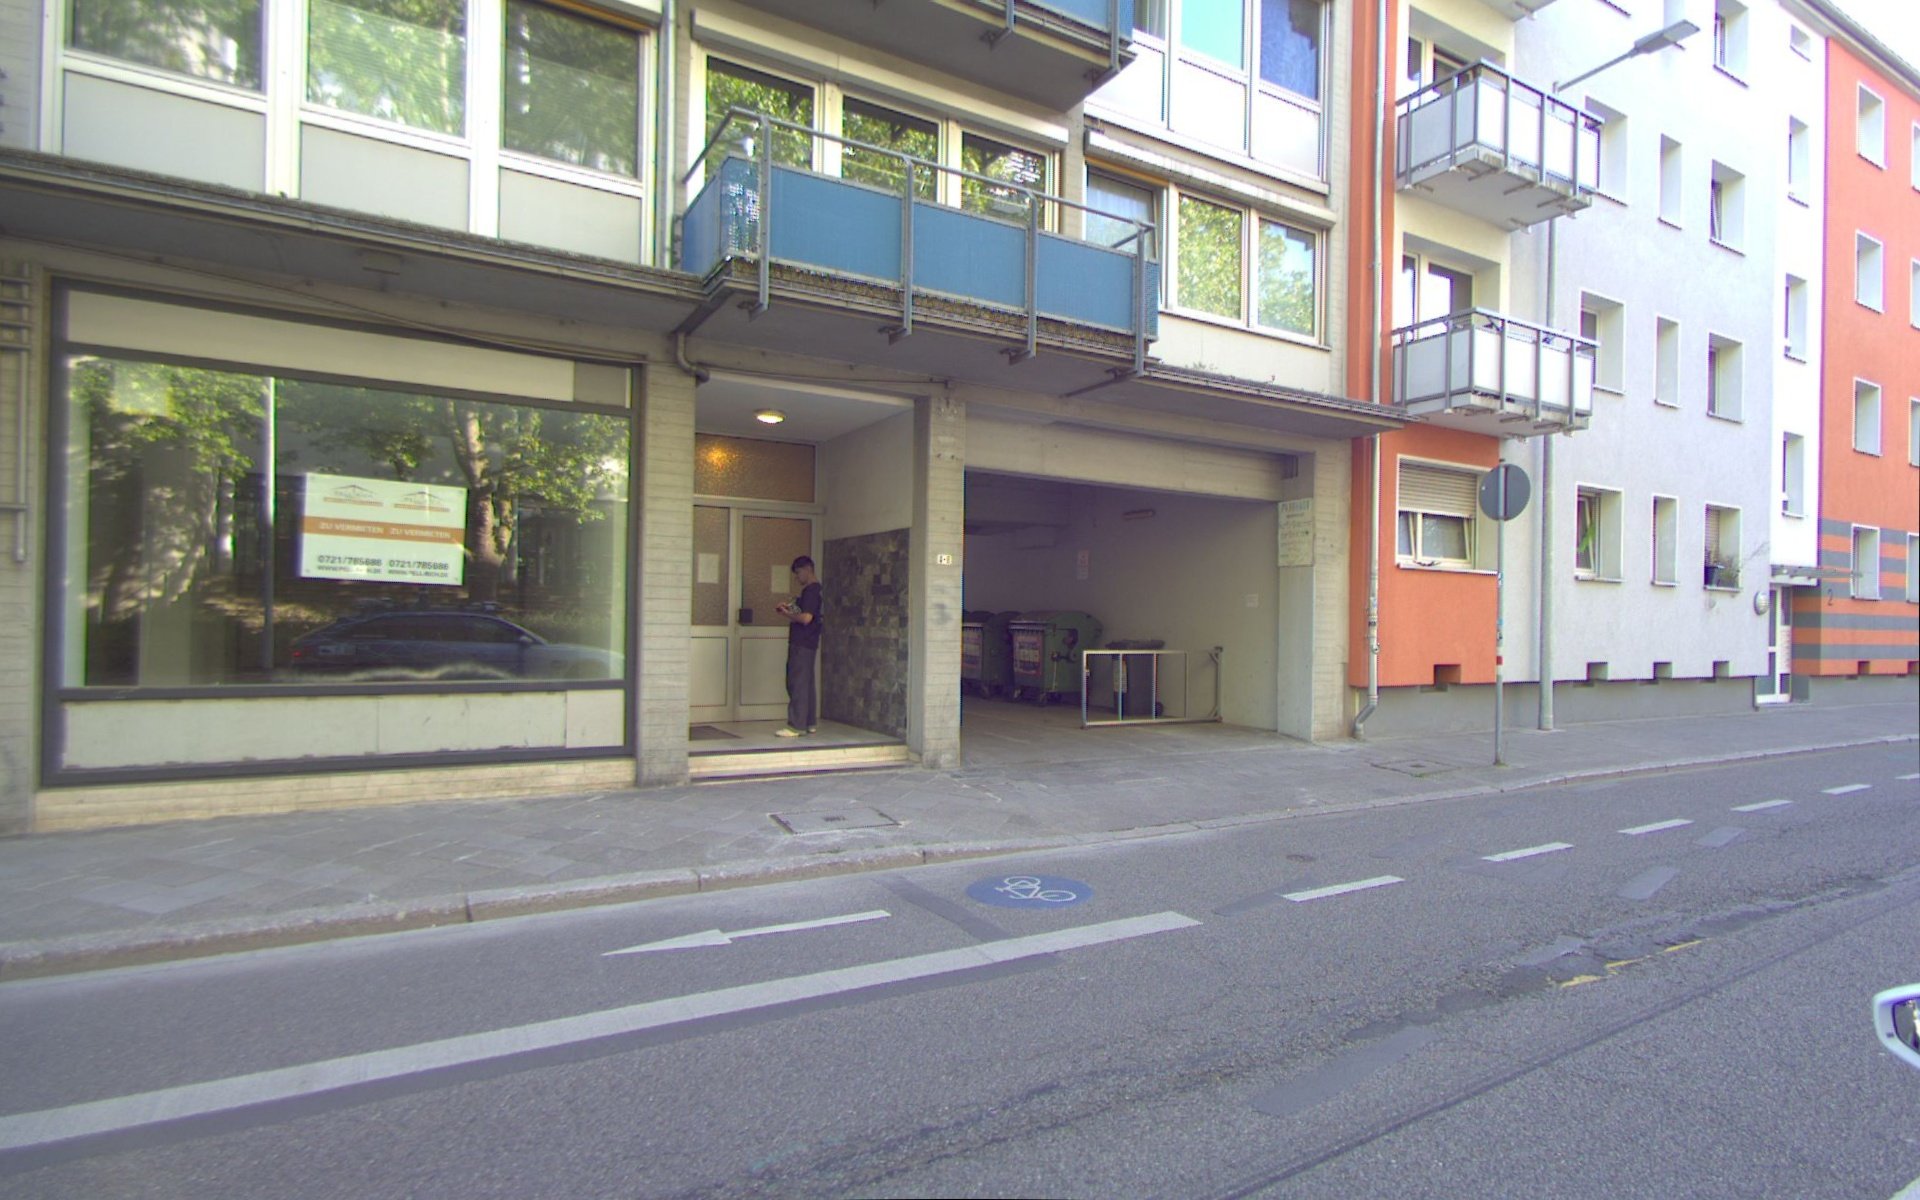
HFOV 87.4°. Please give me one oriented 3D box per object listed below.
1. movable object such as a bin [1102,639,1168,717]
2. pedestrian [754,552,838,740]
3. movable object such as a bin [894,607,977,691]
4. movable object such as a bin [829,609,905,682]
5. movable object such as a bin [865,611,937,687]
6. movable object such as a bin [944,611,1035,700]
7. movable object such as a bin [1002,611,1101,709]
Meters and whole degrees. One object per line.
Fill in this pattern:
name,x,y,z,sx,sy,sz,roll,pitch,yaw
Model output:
movable object such as a bin,2.475,1.085,14.248,0.704,1.054,0.583,1,0,-30
pedestrian,-1.596,0.434,9.816,0.518,1.764,0.630,1,0,27
movable object such as a bin,-0.462,0.870,18.414,1.011,1.462,1.318,1,-1,-29
movable object such as a bin,-1.892,0.910,20.403,1.014,1.409,1.264,1,-1,-37
movable object such as a bin,-1.151,0.928,19.437,1.012,1.409,1.046,1,-1,-31
movable object such as a bin,0.479,0.909,16.906,1.011,1.409,1.319,1,-1,-27
movable object such as a bin,1.398,0.900,15.582,1.009,1.438,1.321,1,-1,-23
